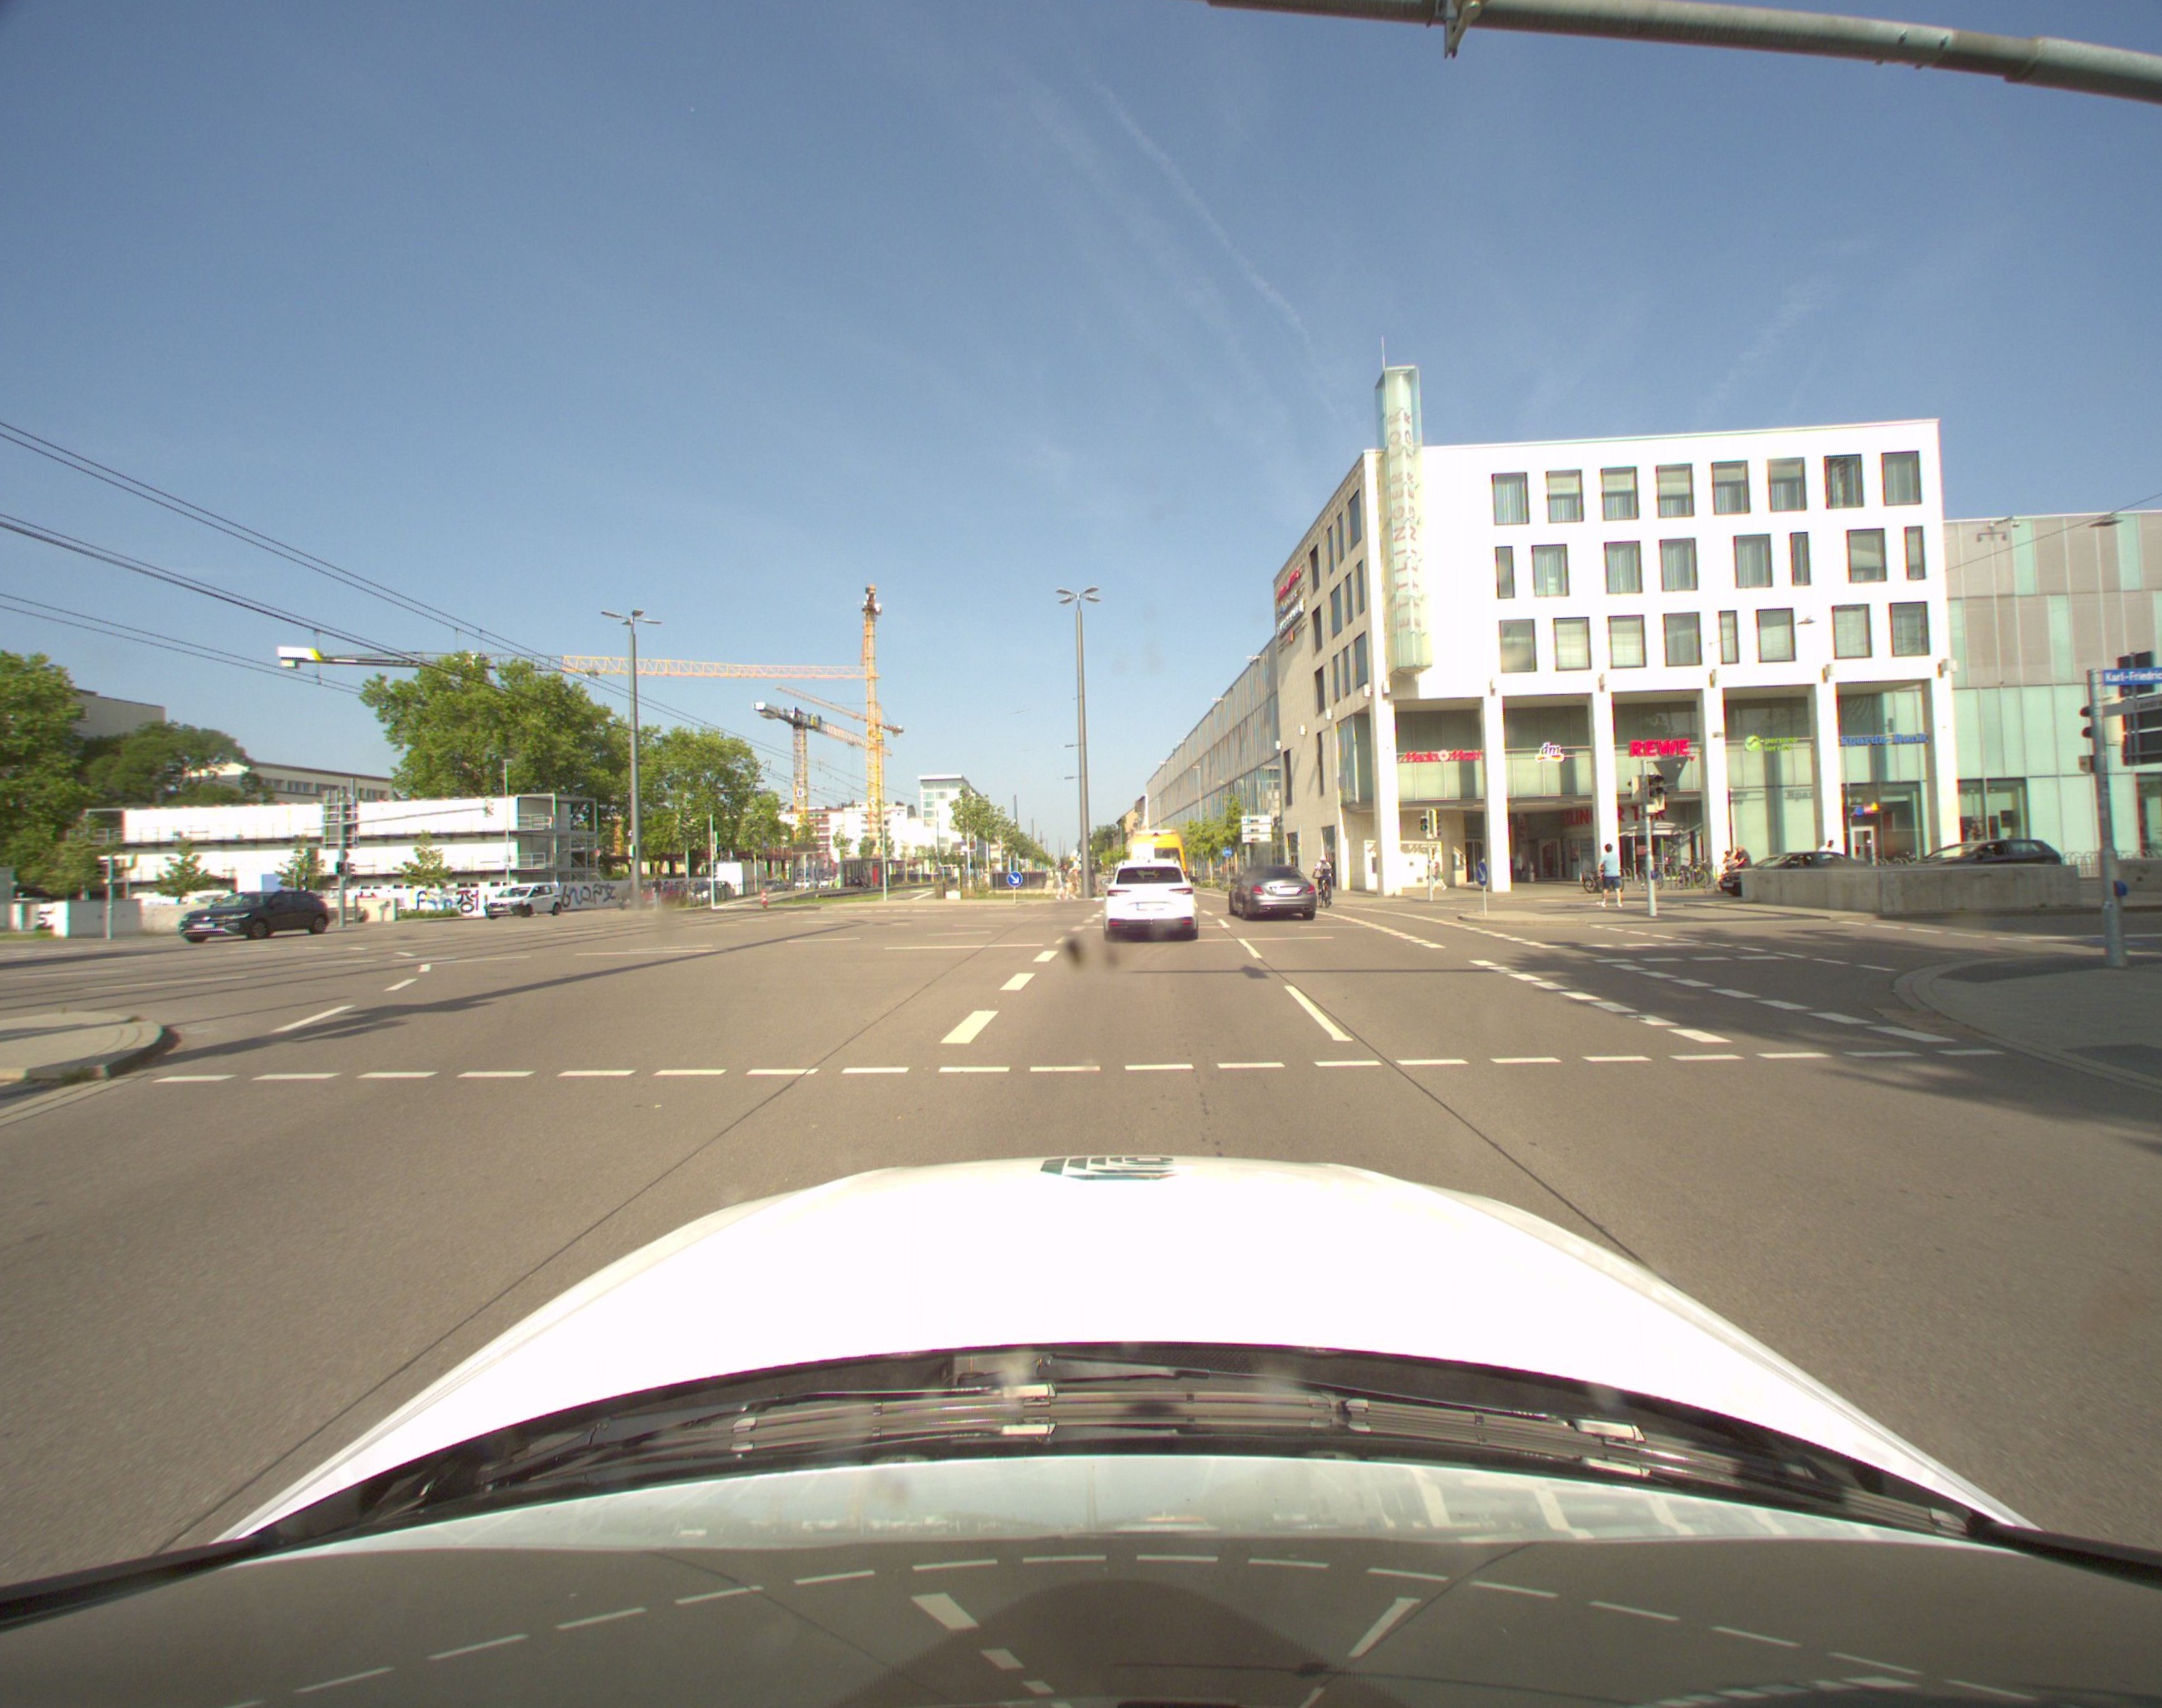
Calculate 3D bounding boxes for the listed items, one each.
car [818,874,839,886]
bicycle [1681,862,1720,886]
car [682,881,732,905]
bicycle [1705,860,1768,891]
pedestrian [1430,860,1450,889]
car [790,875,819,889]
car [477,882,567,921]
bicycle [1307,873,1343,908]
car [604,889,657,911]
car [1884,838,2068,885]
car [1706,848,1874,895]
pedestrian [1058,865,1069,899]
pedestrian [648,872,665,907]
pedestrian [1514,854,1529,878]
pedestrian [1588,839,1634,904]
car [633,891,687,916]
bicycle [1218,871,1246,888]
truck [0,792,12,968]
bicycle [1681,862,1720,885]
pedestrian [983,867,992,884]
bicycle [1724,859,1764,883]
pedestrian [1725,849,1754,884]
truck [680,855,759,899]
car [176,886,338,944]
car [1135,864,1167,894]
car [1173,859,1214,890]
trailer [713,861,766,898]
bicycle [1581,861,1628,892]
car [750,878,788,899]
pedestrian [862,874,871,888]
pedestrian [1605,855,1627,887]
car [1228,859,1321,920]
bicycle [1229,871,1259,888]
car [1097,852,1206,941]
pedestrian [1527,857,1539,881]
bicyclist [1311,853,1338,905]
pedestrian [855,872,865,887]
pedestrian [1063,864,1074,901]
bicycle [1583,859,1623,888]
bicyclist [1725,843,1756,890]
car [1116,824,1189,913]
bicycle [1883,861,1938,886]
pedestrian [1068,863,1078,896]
[{"bbox_3d":[-31.707,3.258,102.271,1.591,1.463,3.432,-2,-1,0],"label":"car"},{"bbox_3d":[25.972,0.829,34.182,0.456,0.956,1.860,-2,-1,9],"label":"bicycle"},{"bbox_3d":[-26.385,2.728,57.615,1.638,1.469,4.400,-2,-1,-2],"label":"car"},{"bbox_3d":[24.495,0.785,30.450,1.796,1.017,0.612,-4,-1,-1],"label":"bicycle"},{"bbox_3d":[18.461,1.056,41.893,0.705,1.487,0.605,-2,-1,1],"label":"pedestrian"},{"bbox_3d":[-31.662,3.182,93.320,1.786,1.582,4.614,-2,-1,-1],"label":"car"},{"bbox_3d":[-29.033,2.403,42.487,1.611,1.789,4.517,-2,-1,0],"label":"car"},{"bbox_3d":[8.445,1.247,28.244,0.658,1.117,2.052,-2,-1,2],"label":"bicycle"},{"bbox_3d":[-31.252,3.164,56.624,1.594,1.347,4.412,-2,-1,-7],"label":"car"},{"bbox_3d":[29.659,0.275,27.103,3.883,1.403,1.881,-2,-1,3],"label":"car"},{"bbox_3d":[23.592,0.597,27.231,3.876,1.367,1.879,-2,-2,3],"label":"car"},{"bbox_3d":[-0.861,1.353,40.200,0.466,1.650,0.777,-1,-1,-1],"label":"pedestrian"},{"bbox_3d":[-20.940,1.737,40.186,0.367,1.676,0.643,-2,-1,16],"label":"pedestrian"},{"bbox_3d":[25.144,0.683,46.489,0.563,1.384,0.492,-2,-1,-6],"label":"pedestrian"},{"bbox_3d":[14.449,0.464,22.233,0.639,1.711,0.991,-2,-1,7],"label":"pedestrian"},{"bbox_3d":[-26.456,3.081,51.292,1.718,1.361,3.692,-1,-1,-5],"label":"car"},{"bbox_3d":[10.702,1.800,57.672,1.872,1.109,0.490,-2,-1,1],"label":"bicycle"},{"bbox_3d":[-24.363,0.512,12.487,2.968,3.809,10.399,-2,-1,-6],"label":"truck"},{"bbox_3d":[26.615,0.847,35.010,0.456,0.956,1.860,-2,-1,9],"label":"bicycle"},{"bbox_3d":[-8.820,2.014,76.776,0.733,1.619,0.710,-1,-1,-2],"label":"pedestrian"},{"bbox_3d":[27.687,0.690,34.038,0.456,0.956,1.674,-2,-1,9],"label":"bicycle"},{"bbox_3d":[28.278,0.544,34.979,0.604,1.485,0.731,-1,-2,-31],"label":"pedestrian"},{"bbox_3d":[-32.281,1.997,73.196,3.011,3.586,8.889,-2,-1,0],"label":"truck"},{"bbox_3d":[-26.743,1.912,26.631,1.639,1.601,3.987,-2,-1,-9],"label":"car"},{"bbox_3d":[4.462,1.614,52.566,1.704,1.863,3.792,0,-1,0],"label":"car"},{"bbox_3d":[7.151,1.324,52.265,1.944,1.850,4.434,-2,-1,-1],"label":"car"},{"bbox_3d":[-26.639,1.991,63.732,2.039,2.781,5.018,0,-1,-1],"label":"trailer"},{"bbox_3d":[21.720,0.924,33.819,0.611,1.237,2.070,-2,-1,1],"label":"bicycle"},{"bbox_3d":[-26.860,2.932,70.285,1.715,1.662,4.149,-1,-1,0],"label":"car"},{"bbox_3d":[-20.111,2.498,76.307,0.679,1.300,0.591,-2,-1,-4],"label":"pedestrian"},{"bbox_3d":[22.915,0.725,34.874,0.511,1.356,0.546,-2,-1,-7],"label":"pedestrian"},{"bbox_3d":[5.071,0.893,21.825,1.752,1.436,4.119,-1,-1,4],"label":"car"},{"bbox_3d":[10.704,1.645,53.497,1.833,1.113,0.687,0,-1,1],"label":"bicycle"},{"bbox_3d":[1.343,0.809,16.972,1.864,1.575,3.998,-2,-1,-1],"label":"car"},{"bbox_3d":[25.160,0.844,45.326,0.390,1.341,0.455,-2,-1,-1],"label":"pedestrian"},{"bbox_3d":[8.433,0.857,28.251,0.648,1.749,0.769,-2,-1,2],"label":"bicyclist"},{"bbox_3d":[-19.902,2.327,73.347,0.679,1.300,0.591,-2,-1,-4],"label":"pedestrian"},{"bbox_3d":[-0.594,1.318,37.817,0.466,1.650,0.777,-1,-1,-1],"label":"pedestrian"},{"bbox_3d":[22.590,0.848,35.306,0.499,1.199,1.791,-2,-1,-2],"label":"bicycle"},{"bbox_3d":[24.663,0.463,30.465,0.633,1.738,0.582,-2,-1,-1],"label":"bicyclist"},{"bbox_3d":[2.421,0.477,28.945,2.014,2.796,5.399,-2,-1,0],"label":"car"},{"bbox_3d":[34.046,0.795,33.465,0.457,0.956,1.715,-2,-1,-1],"label":"bicycle"},{"bbox_3d":[-0.407,1.292,41.210,0.466,1.650,0.777,-1,-1,-1],"label":"pedestrian"}]
